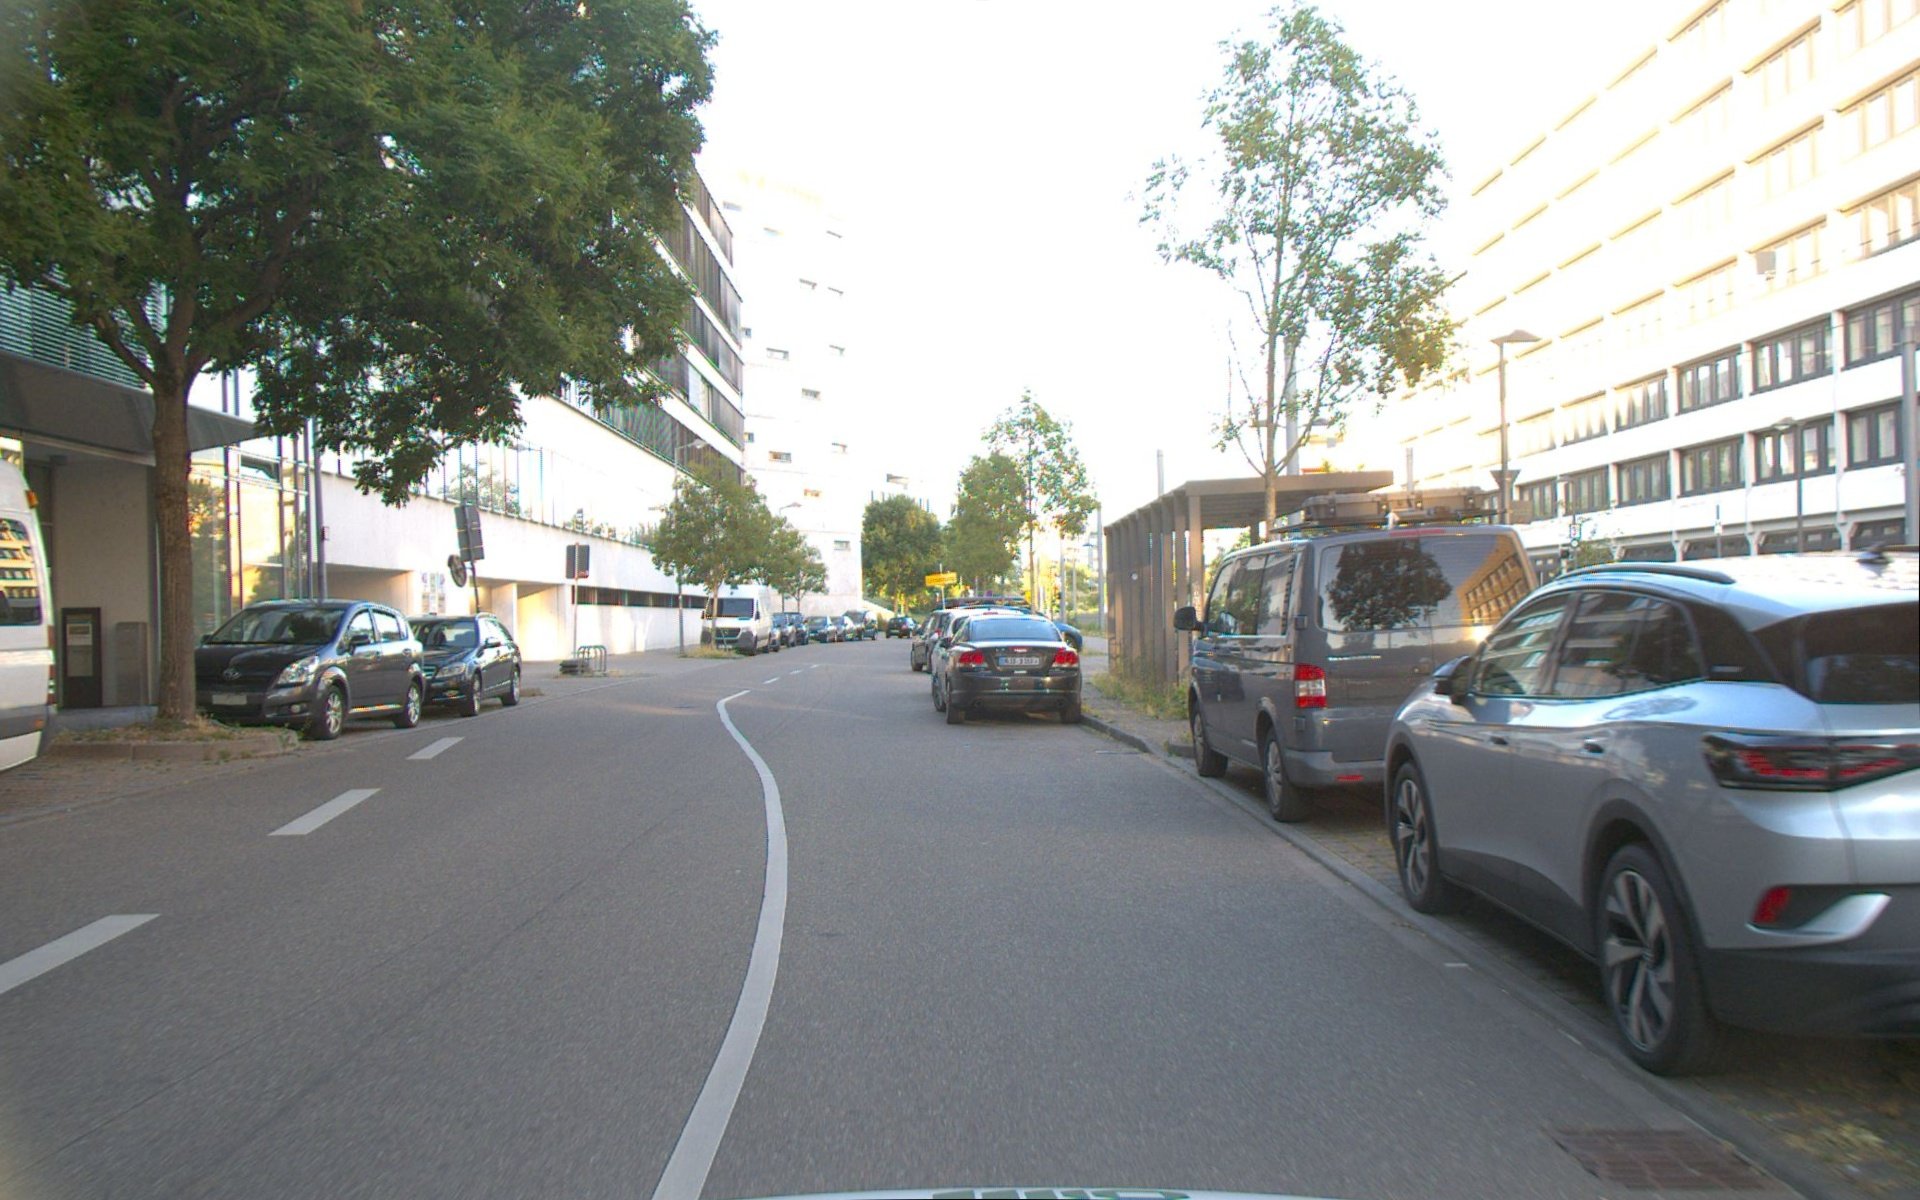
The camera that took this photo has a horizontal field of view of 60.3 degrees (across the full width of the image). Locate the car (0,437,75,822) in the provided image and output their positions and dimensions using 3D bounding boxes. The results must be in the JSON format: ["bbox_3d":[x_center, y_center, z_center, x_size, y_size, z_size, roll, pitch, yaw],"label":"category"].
[{"bbox_3d":[-7.746,0.211,9.135,2.058,2.710,6.949,-1,0,-1],"label":"car"}]

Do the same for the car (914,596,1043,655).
[{"bbox_3d":[0.701,0.918,60.663,4.550,2.071,1.848,1,0,-35],"label":"car"}]

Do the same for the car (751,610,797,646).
[{"bbox_3d":[-8.621,1.278,76.825,1.720,1.588,4.042,1,0,-1],"label":"car"}]

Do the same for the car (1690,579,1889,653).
[{"bbox_3d":[20.061,0.394,40.098,3.906,1.513,1.675,-4,-1,-1],"label":"car"}]

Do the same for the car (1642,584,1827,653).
[{"bbox_3d":[19.830,0.475,42.463,3.906,1.513,1.675,-4,-1,-1],"label":"car"}]

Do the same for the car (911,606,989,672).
[{"bbox_3d":[-0.285,0.940,40.240,1.696,1.492,3.997,1,-1,-3],"label":"car"}]

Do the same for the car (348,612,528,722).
[{"bbox_3d":[-7.802,0.941,25.098,1.681,1.477,4.394,-1,0,-5],"label":"car"}]

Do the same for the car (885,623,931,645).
[{"bbox_3d":[-3.490,2.299,112.290,1.903,1.407,4.402,1,0,15],"label":"car"}]

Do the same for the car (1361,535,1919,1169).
[{"bbox_3d":[2.989,0.627,6.495,1.672,1.608,4.478,-3,0,0],"label":"car"}]

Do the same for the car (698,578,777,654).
[{"bbox_3d":[-8.230,0.584,61.787,1.918,2.663,6.892,1,0,0],"label":"car"}]

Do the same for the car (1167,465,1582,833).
[{"bbox_3d":[2.897,0.324,12.731,1.768,2.214,4.734,-3,-1,-2],"label":"car"}]

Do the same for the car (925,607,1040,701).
[{"bbox_3d":[0.316,0.880,28.485,1.643,1.477,4.184,-1,-1,-4],"label":"car"}]

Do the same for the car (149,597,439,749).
[{"bbox_3d":[-7.819,0.796,19.891,1.806,1.599,4.266,-1,0,-1],"label":"car"}]

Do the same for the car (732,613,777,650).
[{"bbox_3d":[-8.421,1.278,68.030,1.722,1.465,3.896,1,0,-6],"label":"car"}]

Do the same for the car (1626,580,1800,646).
[{"bbox_3d":[20.424,0.355,44.972,3.906,1.513,1.675,-4,-1,-1],"label":"car"}]

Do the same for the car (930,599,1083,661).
[{"bbox_3d":[1.334,0.844,46.462,3.957,1.547,1.903,-1,-2,-37],"label":"car"}]

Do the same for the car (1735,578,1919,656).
[{"bbox_3d":[20.037,0.380,37.692,3.906,1.513,1.675,-4,-1,-1],"label":"car"}]

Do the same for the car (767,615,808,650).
[{"bbox_3d":[-8.639,1.595,83.221,1.720,1.682,3.947,1,0,-2],"label":"car"}]

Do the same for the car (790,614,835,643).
[{"bbox_3d":[-8.136,1.551,91.404,1.686,1.483,4.274,1,0,5],"label":"car"}]

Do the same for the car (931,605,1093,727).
[{"bbox_3d":[0.600,0.823,22.676,1.752,1.477,4.511,-1,0,-4],"label":"car"}]
